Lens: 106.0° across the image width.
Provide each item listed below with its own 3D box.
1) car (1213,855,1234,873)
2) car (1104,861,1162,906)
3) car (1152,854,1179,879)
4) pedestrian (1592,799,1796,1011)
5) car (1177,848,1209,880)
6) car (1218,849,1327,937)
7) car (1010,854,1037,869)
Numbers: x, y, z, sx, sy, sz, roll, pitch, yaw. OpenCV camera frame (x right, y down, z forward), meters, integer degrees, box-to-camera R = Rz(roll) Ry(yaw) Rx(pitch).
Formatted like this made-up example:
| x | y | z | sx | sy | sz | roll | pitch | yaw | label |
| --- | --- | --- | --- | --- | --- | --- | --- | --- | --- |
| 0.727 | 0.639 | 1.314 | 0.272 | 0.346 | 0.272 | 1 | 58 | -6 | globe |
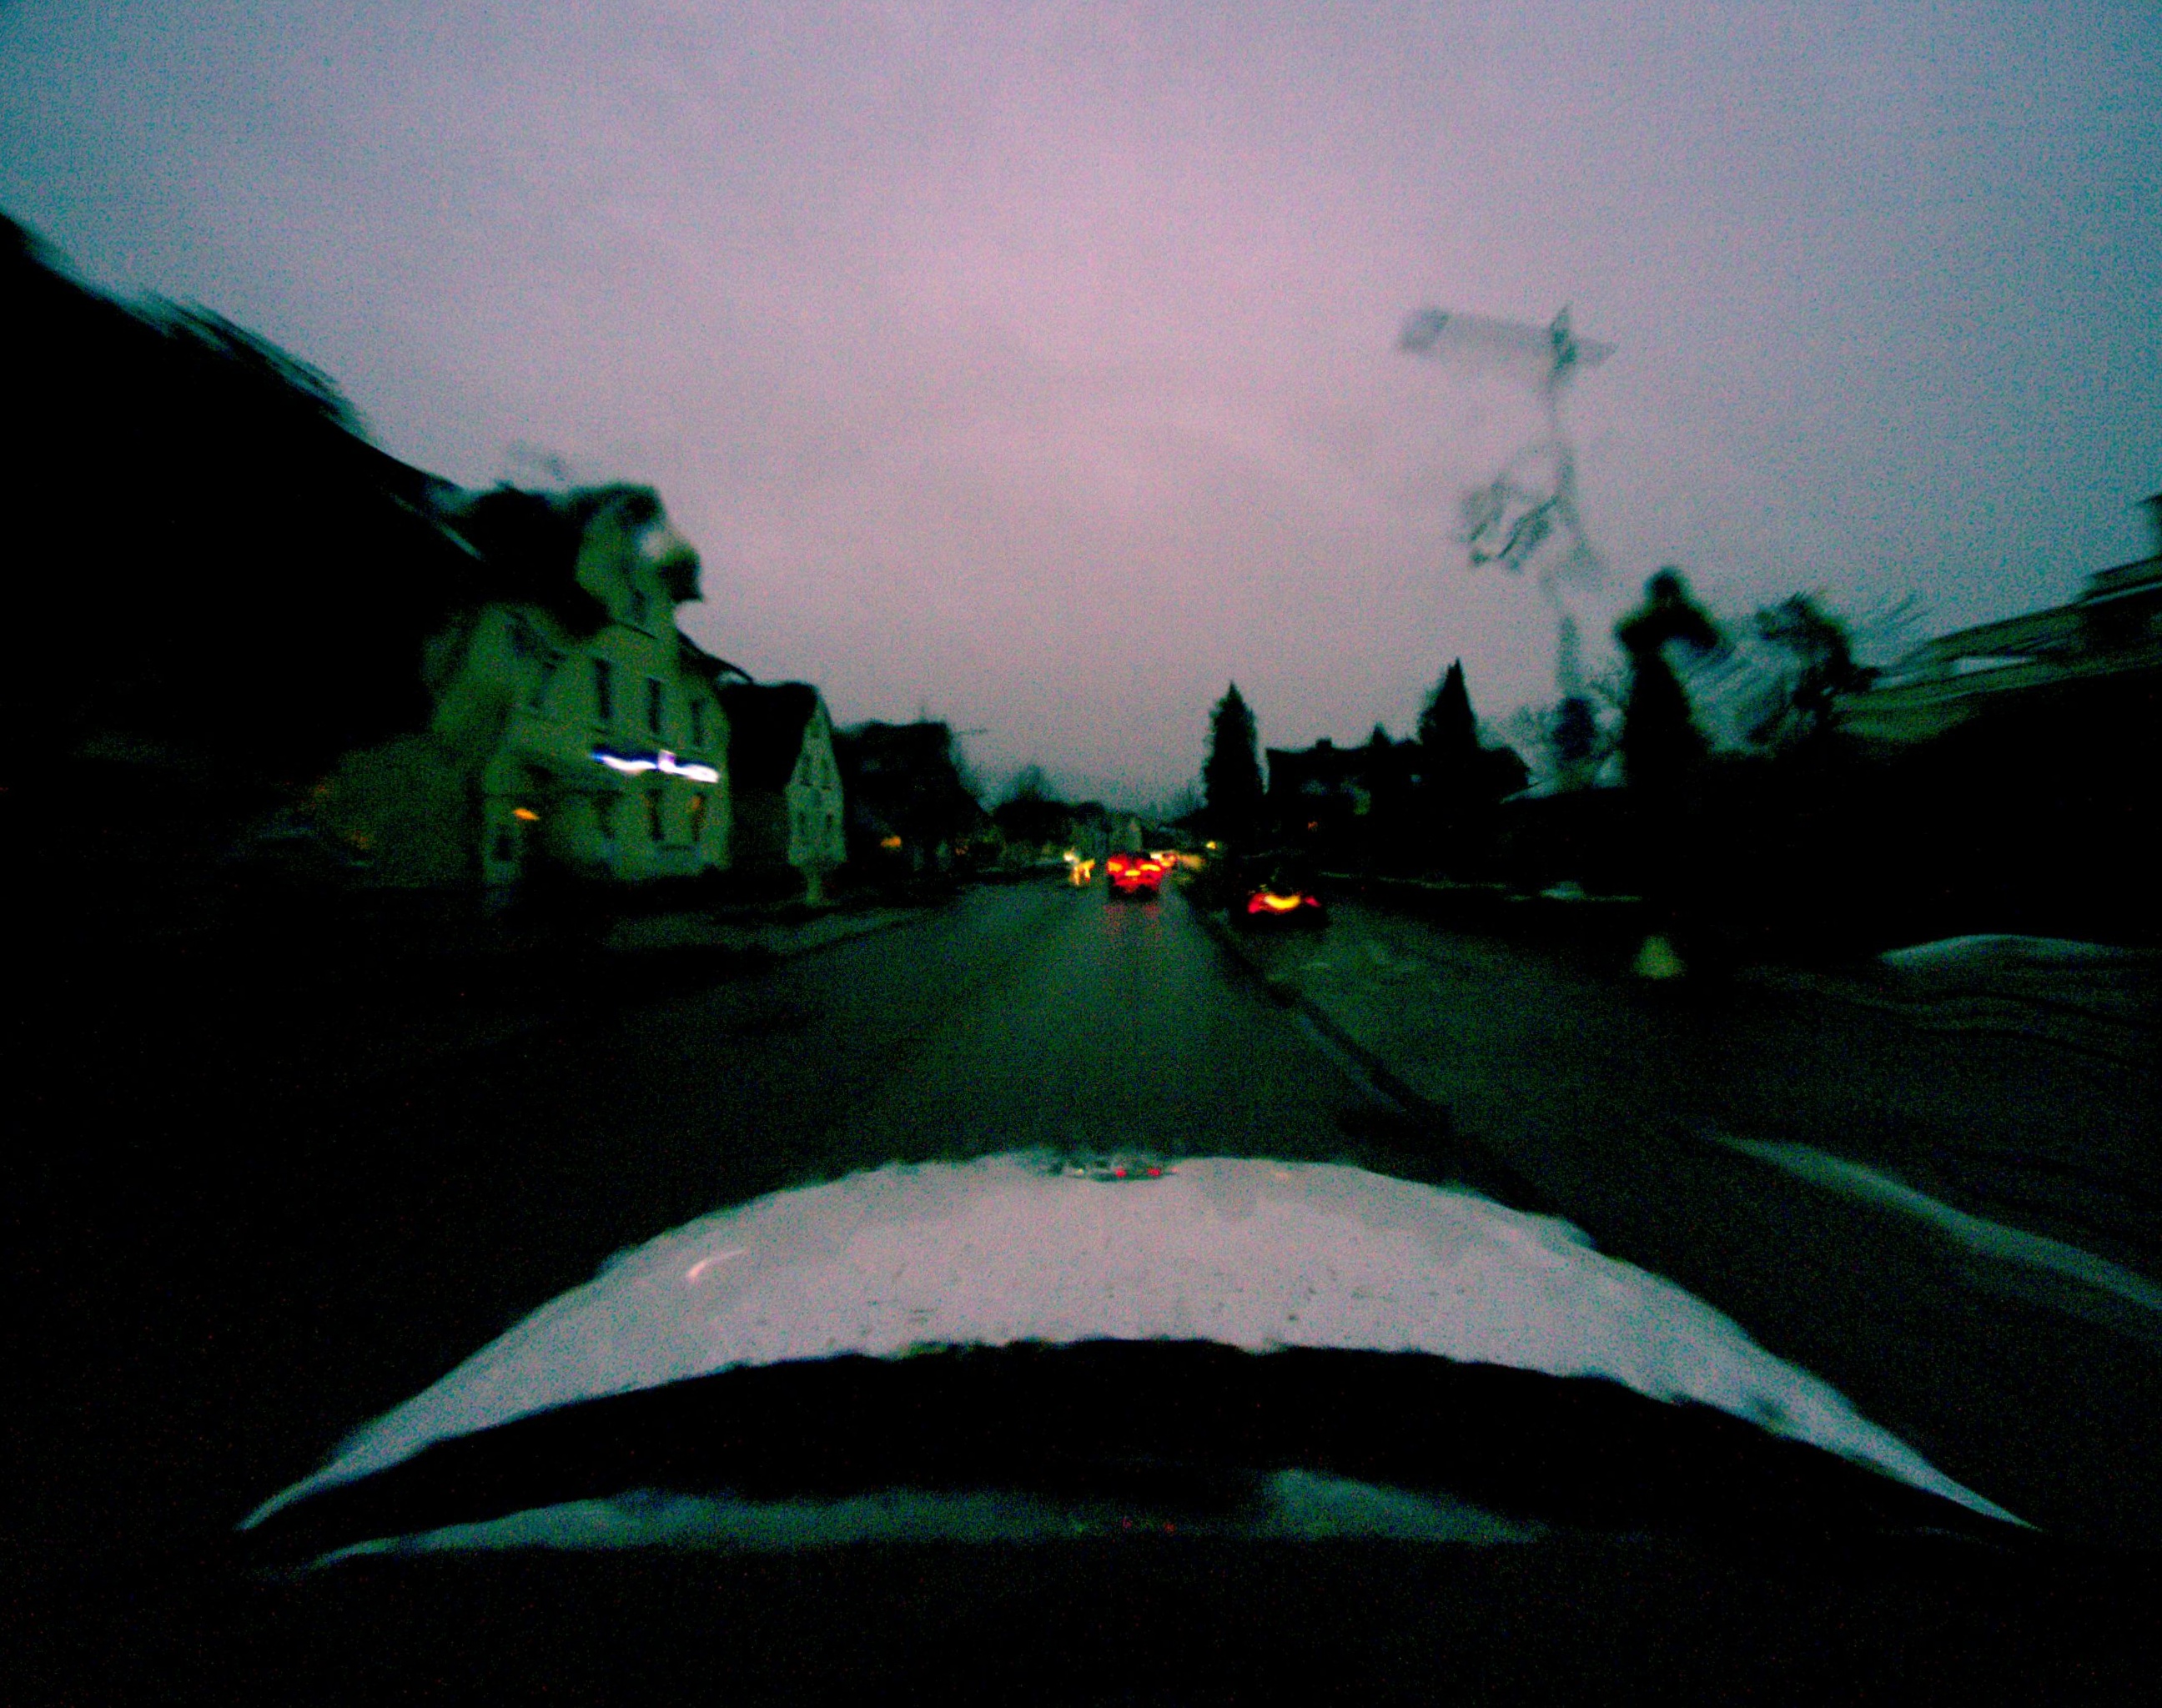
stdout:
| x | y | z | sx | sy | sz | roll | pitch | yaw | label |
| --- | --- | --- | --- | --- | --- | --- | --- | --- | --- |
| 15.949 | 1.078 | 91.095 | 1.732 | 1.785 | 4.354 | -4 | -1 | 15 | car |
| 1.906 | 1.041 | 30.164 | 1.985 | 1.525 | 4.003 | -1 | -1 | 3 | car |
| 7.124 | 1.050 | 68.282 | 1.982 | 2.014 | 4.010 | -1 | -1 | 9 | car |
| 5.501 | 0.442 | 7.406 | 0.983 | 1.742 | 1.057 | -3 | -1 | 4 | pedestrian |
| 7.847 | 0.677 | 57.056 | 1.967 | 2.013 | 5.757 | -3 | 0 | 7 | car |
| 3.906 | 0.764 | 17.122 | 1.641 | 1.540 | 3.395 | -5 | -1 | 5 | car |
| -7.721 | 0.980 | 109.395 | 1.976 | 2.013 | 4.022 | 1 | 0 | 23 | car |
